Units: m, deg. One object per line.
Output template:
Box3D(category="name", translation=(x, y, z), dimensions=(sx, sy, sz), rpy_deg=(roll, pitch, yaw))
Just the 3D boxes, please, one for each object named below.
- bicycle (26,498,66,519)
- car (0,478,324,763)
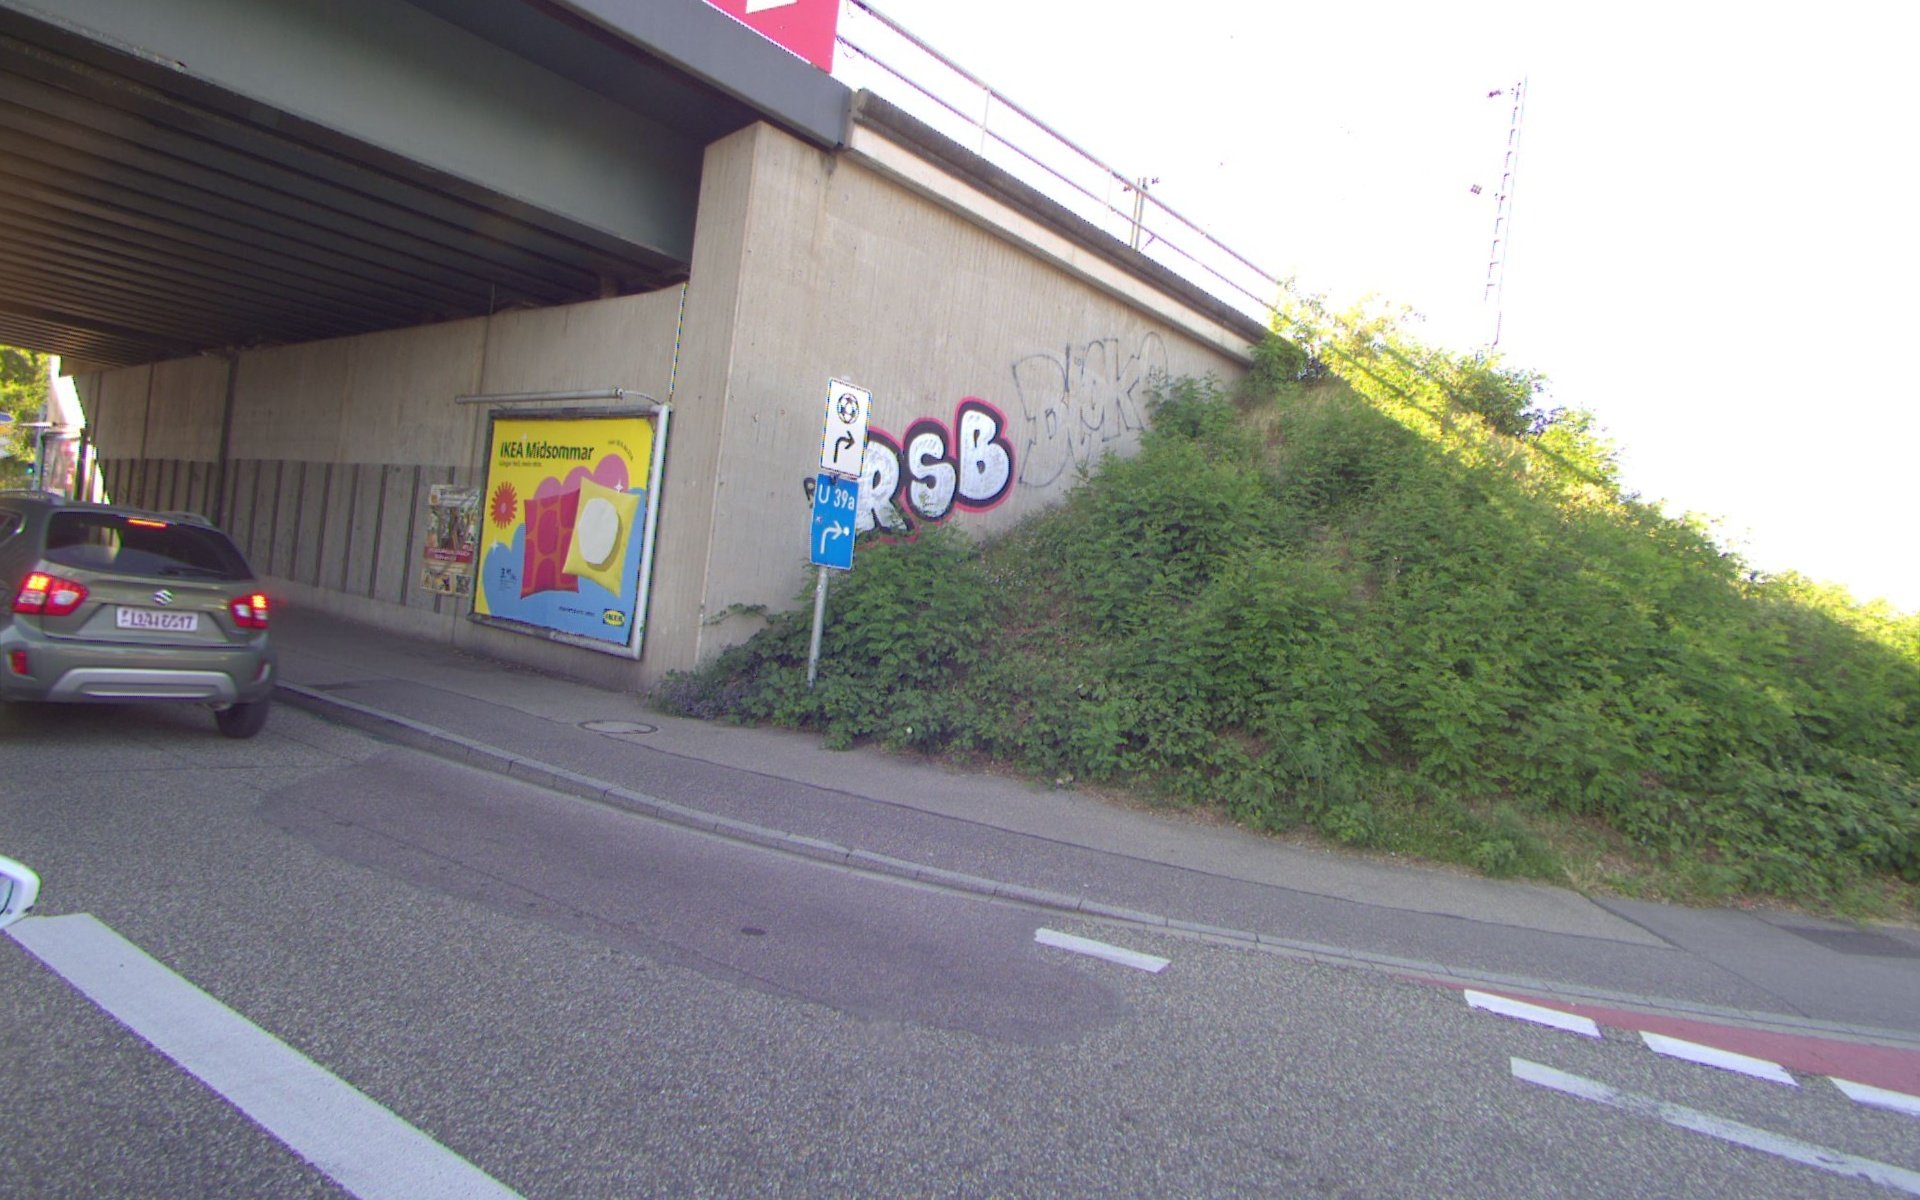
Box3D(category="bicycle", translation=(-53.931, -5.401, 59.374), dimensions=(1.652, 1.004, 0.572), rpy_deg=(7, 3, -35))
Box3D(category="car", translation=(-6.802, 0.032, 7.603), dimensions=(3.996, 1.649, 1.740), rpy_deg=(6, -2, 33))
